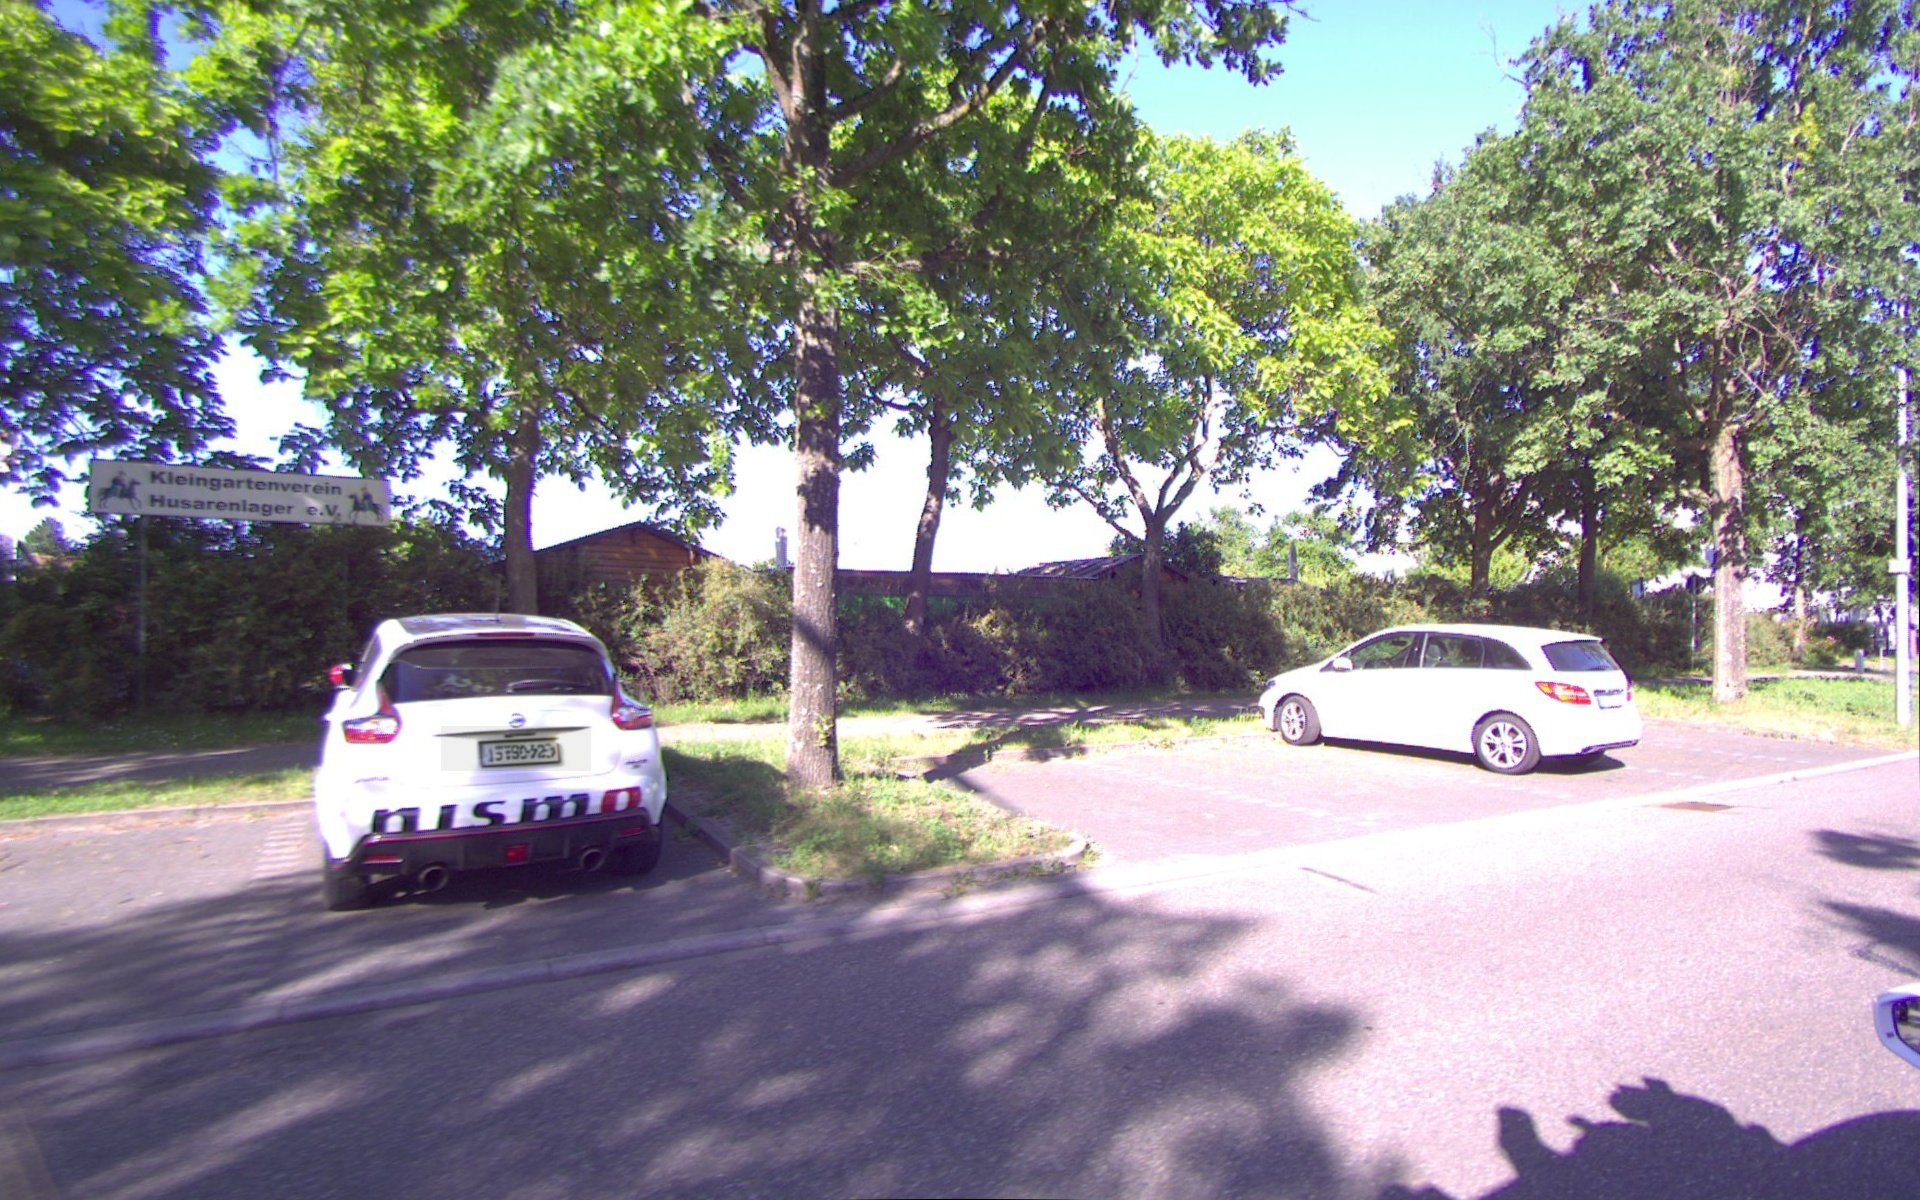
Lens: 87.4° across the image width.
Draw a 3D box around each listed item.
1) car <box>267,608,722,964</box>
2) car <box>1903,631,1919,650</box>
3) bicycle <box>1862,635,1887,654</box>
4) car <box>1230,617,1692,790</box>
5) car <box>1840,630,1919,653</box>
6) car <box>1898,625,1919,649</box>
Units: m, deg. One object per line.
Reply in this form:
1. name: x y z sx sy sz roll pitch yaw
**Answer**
1. car: -3.320 0.855 6.911 2.064 1.531 4.390 1 0 -31
2. car: 72.655 2.980 74.195 3.874 1.420 2.001 0 -1 16
3. bicycle: 54.509 2.655 59.858 1.871 1.102 0.635 1 -2 -34
4. car: 5.809 1.044 12.245 2.169 1.579 4.597 1 0 -34
5. car: 64.314 2.901 70.204 3.927 1.531 1.798 -1 0 28
6. car: 82.946 3.121 85.050 4.761 2.040 2.001 0 -1 16
